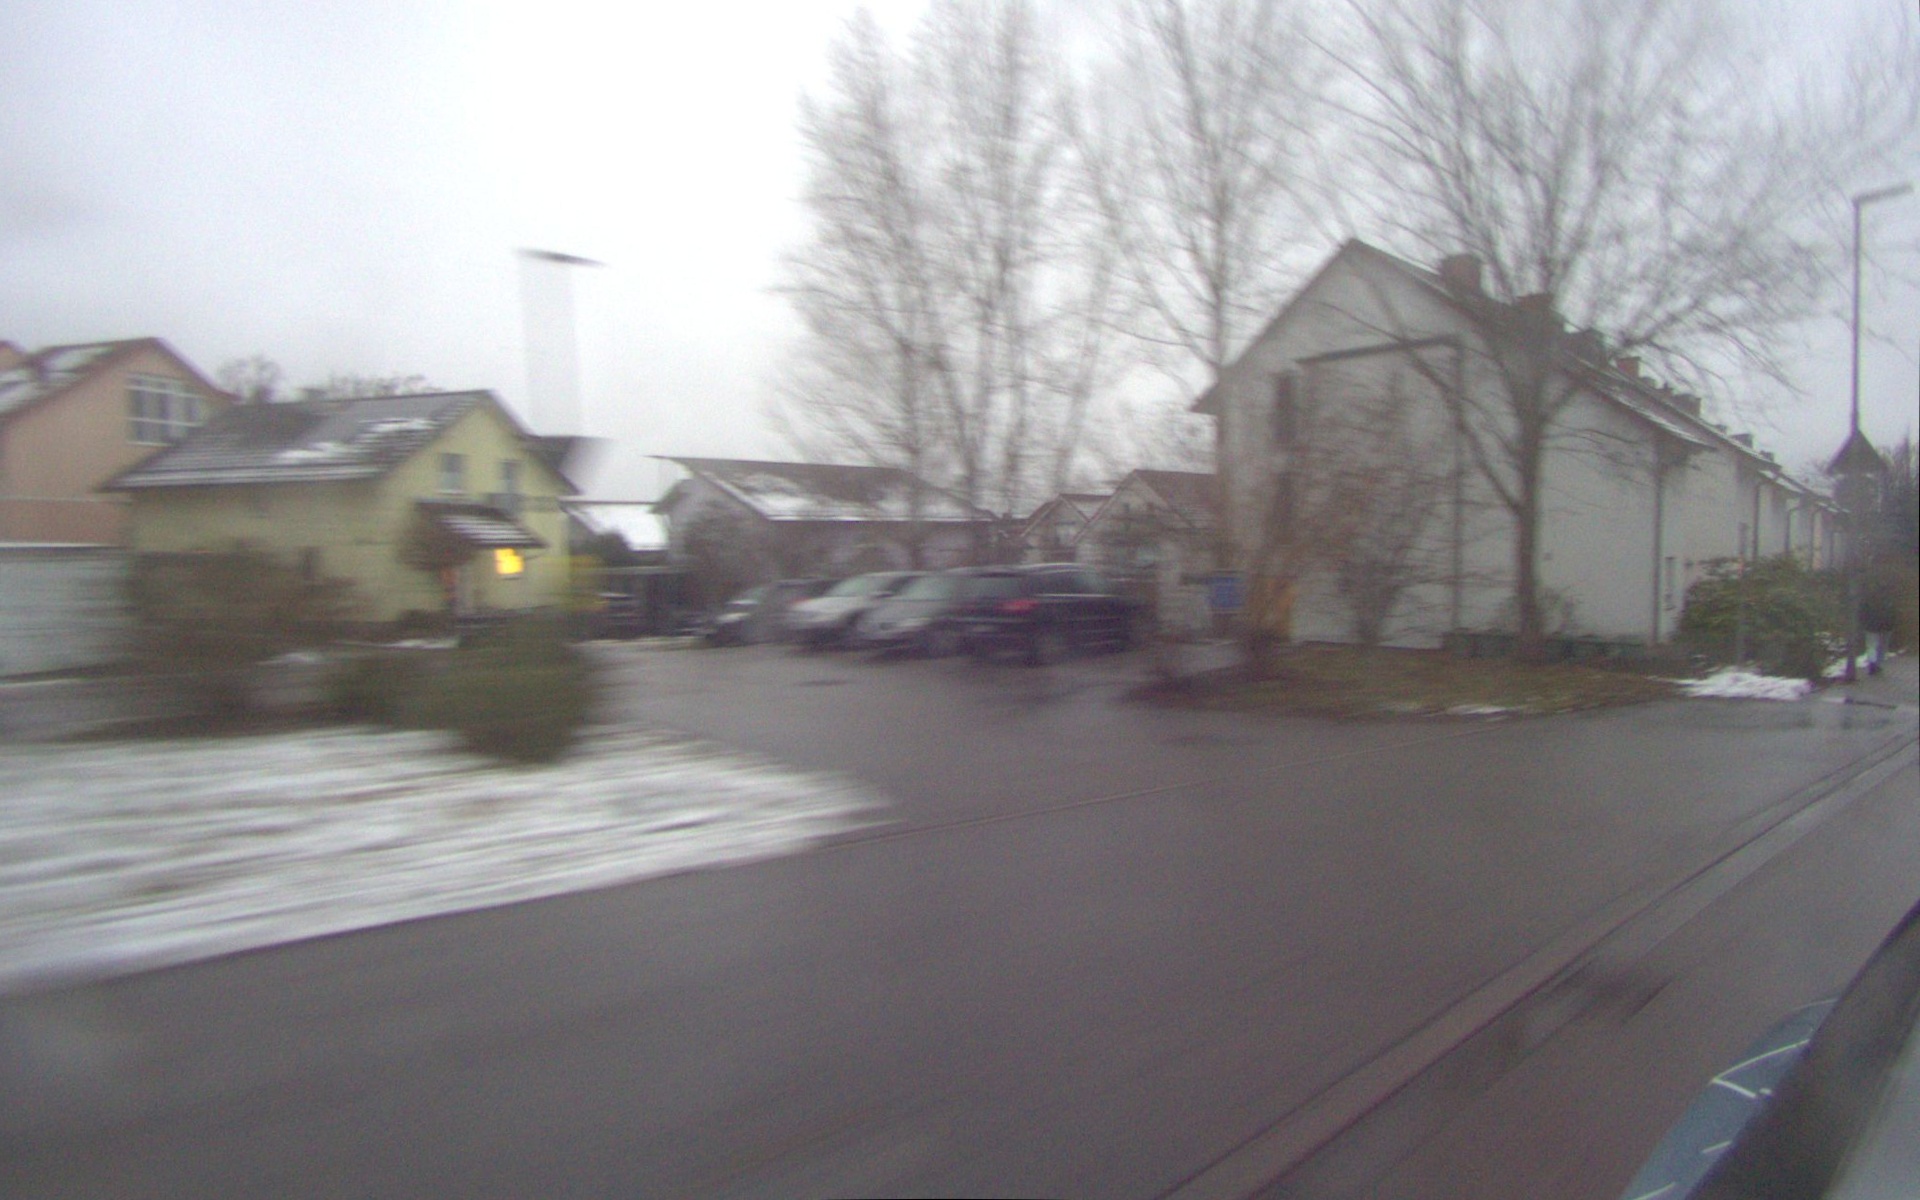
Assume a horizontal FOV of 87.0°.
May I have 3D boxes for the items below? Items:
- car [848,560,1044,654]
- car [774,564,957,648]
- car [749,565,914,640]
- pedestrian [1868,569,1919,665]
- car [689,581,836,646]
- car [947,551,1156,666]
[{"bbox_3d":[-0.220,0.053,19.952,3.678,1.490,1.641,-6,5,-42],"label":"car"},{"bbox_3d":[-1.990,0.056,21.956,3.678,1.490,1.641,-6,5,-42],"label":"car"},{"bbox_3d":[-3.077,-0.006,24.622,3.678,1.490,1.641,-6,5,-42],"label":"car"},{"bbox_3d":[16.956,0.291,18.258,0.954,1.675,0.744,0,1,-43],"label":"pedestrian"},{"bbox_3d":[-4.956,0.293,25.584,3.343,1.293,1.471,-6,5,-42],"label":"car"},{"bbox_3d":[1.702,0.048,18.095,3.678,1.702,1.641,-6,5,-42],"label":"car"}]
